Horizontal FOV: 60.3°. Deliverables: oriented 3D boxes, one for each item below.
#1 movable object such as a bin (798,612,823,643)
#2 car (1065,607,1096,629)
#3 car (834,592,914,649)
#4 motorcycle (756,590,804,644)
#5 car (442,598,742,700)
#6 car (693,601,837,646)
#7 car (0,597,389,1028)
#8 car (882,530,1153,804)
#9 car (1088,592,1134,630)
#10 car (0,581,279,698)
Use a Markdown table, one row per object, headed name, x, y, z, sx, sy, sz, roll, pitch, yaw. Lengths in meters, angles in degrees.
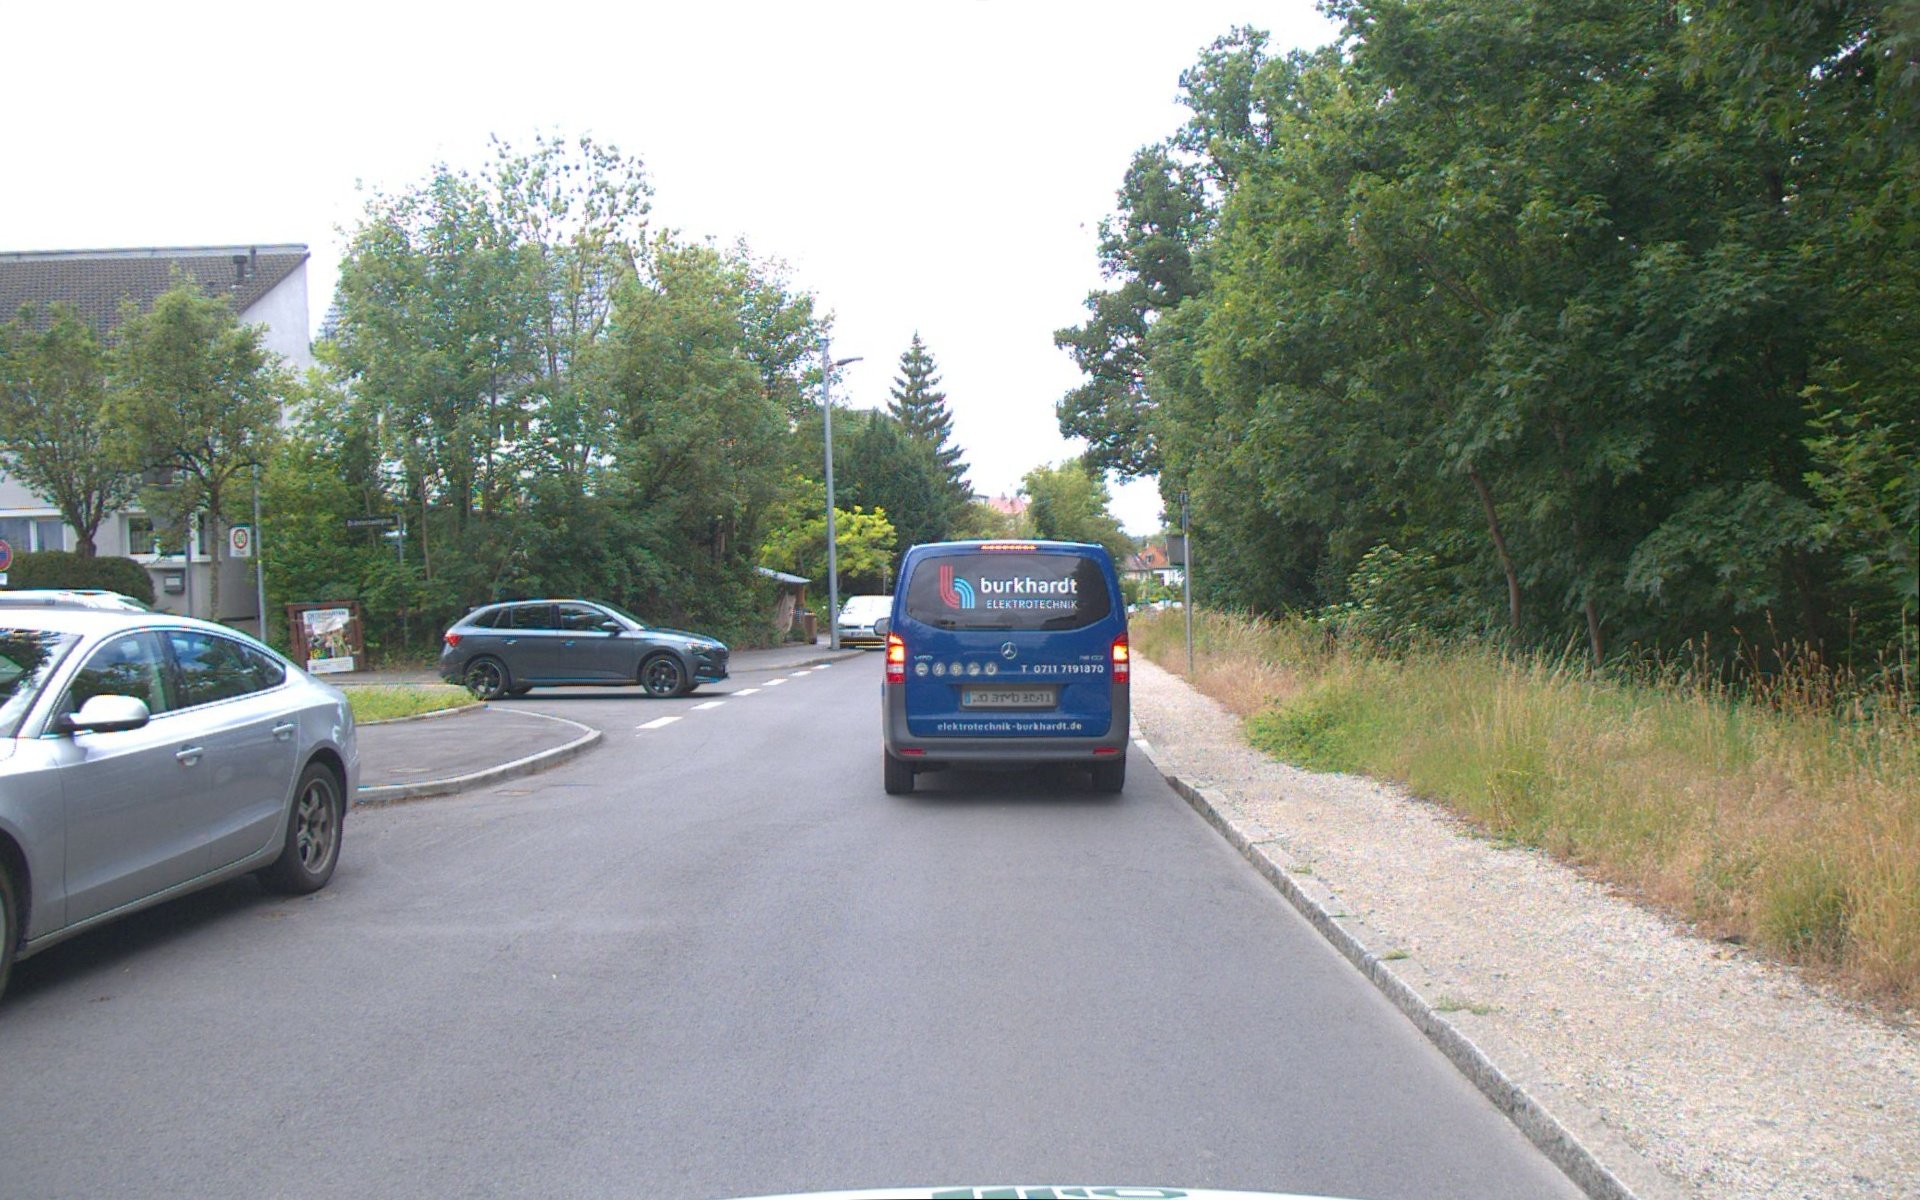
| name | x | y | z | sx | sy | sz | roll | pitch | yaw |
| --- | --- | --- | --- | --- | --- | --- | --- | --- | --- |
| movable object such as a bin | -4.531 | 0.824 | 50.041 | 0.578 | 0.925 | 0.701 | 0 | 0 | 11 |
| car | 8.239 | 1.219 | 112.957 | 1.711 | 1.429 | 4.003 | 0 | 0 | 10 |
| car | -2.308 | 0.553 | 45.361 | 1.669 | 1.493 | 4.078 | 0 | 0 | 4 |
| motorcycle | -5.204 | 0.492 | 47.993 | 0.792 | 1.511 | 2.898 | 0 | 0 | 6 |
| car | -5.439 | 0.712 | 24.804 | 4.080 | 1.472 | 1.740 | 0 | 0 | 1 |
| car | -6.419 | 0.761 | 54.564 | 4.385 | 1.466 | 1.880 | 0 | 0 | 7 |
| car | -4.049 | 0.706 | 6.744 | 1.793 | 1.398 | 4.446 | 0 | 0 | 1 |
| car | 0.462 | 0.453 | 13.861 | 1.896 | 1.913 | 4.531 | 0 | 0 | 1 |
| car | 8.615 | 0.584 | 93.737 | 2.159 | 2.100 | 6.140 | -1 | 0 | 9 |
| car | -13.244 | 0.594 | 25.262 | 4.832 | 1.699 | 2.038 | 0 | 0 | 3 |
